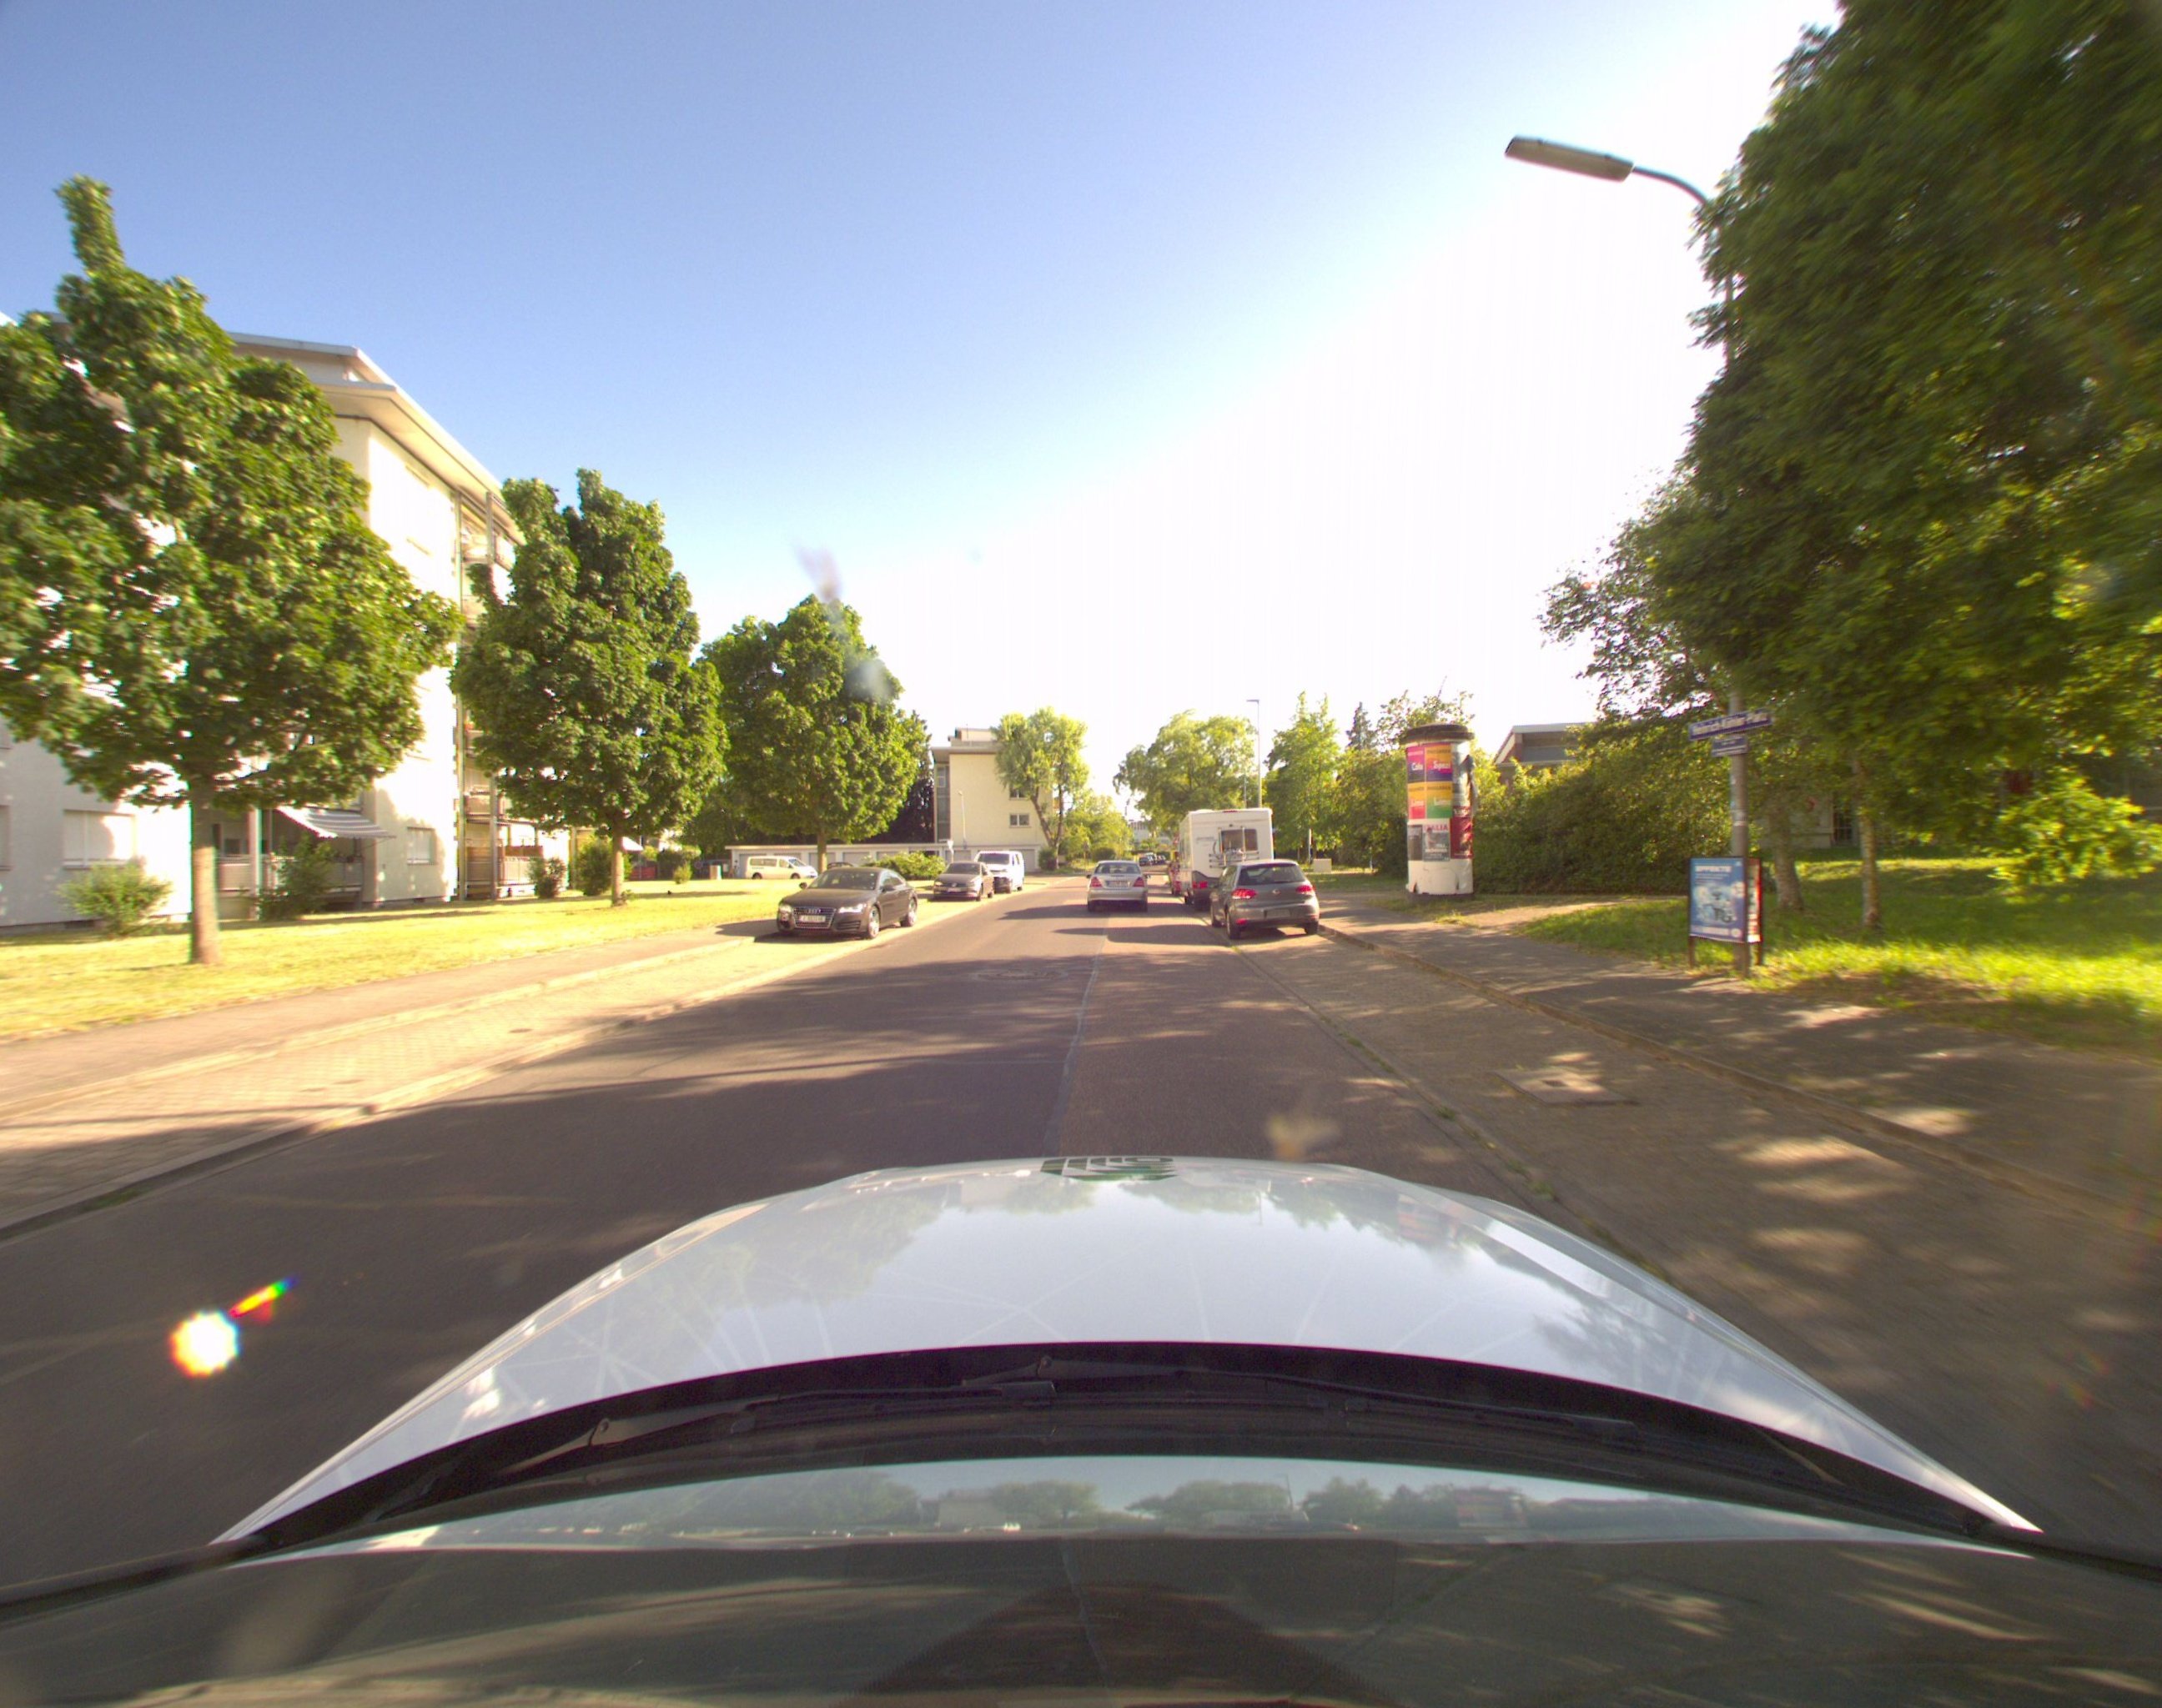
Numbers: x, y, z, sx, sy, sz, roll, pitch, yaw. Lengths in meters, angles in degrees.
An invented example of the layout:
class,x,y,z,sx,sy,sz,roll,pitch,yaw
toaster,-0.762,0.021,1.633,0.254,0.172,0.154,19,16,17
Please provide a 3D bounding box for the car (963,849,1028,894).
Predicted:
class,x,y,z,sx,sy,sz,roll,pitch,yaw
car,-3.832,0.776,37.452,2.005,1.885,5.196,1,0,4

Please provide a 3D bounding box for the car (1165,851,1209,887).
class,x,y,z,sx,sy,sz,roll,pitch,yaw
car,5.461,0.757,42.394,1.768,1.680,4.647,-4,0,2

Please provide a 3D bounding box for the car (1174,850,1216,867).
class,x,y,z,sx,sy,sz,roll,pitch,yaw
car,13.548,0.536,96.505,4.856,1.723,2.005,-2,0,8

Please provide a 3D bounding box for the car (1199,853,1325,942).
class,x,y,z,sx,sy,sz,roll,pitch,yaw
car,3.660,0.801,17.257,1.714,1.524,4.430,-4,0,2

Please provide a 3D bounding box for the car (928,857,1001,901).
class,x,y,z,sx,sy,sz,roll,pitch,yaw
car,-4.338,0.903,30.967,1.825,1.518,4.226,1,0,4

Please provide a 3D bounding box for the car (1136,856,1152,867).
class,x,y,z,sx,sy,sz,roll,pitch,yaw
car,9.498,1.160,122.235,1.901,1.490,3.849,-4,-1,11

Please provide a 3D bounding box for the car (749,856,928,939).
class,x,y,z,sx,sy,sz,roll,pitch,yaw
car,-5.022,0.812,17.812,2.026,1.493,5.260,1,0,3

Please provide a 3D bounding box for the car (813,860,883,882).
class,x,y,z,sx,sy,sz,roll,pitch,yaw
car,-17.093,1.268,59.761,4.415,1.461,2.049,-1,0,10

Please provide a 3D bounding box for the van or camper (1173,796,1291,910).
class,x,y,z,sx,sy,sz,roll,pitch,yaw
van or camper,4.256,-0.028,24.361,2.486,2.845,6.856,-2,0,3

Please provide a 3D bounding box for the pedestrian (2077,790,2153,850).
class,x,y,z,sx,sy,sz,roll,pitch,yaw
pedestrian,28.416,-0.914,22.411,0.847,1.576,1.096,-2,0,23

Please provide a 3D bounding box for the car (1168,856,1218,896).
class,x,y,z,sx,sy,sz,roll,pitch,yaw
car,4.503,0.839,33.212,1.684,1.474,4.004,-2,0,4

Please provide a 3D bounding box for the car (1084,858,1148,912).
class,x,y,z,sx,sy,sz,roll,pitch,yaw
car,1.066,0.859,23.529,1.725,1.434,3.442,0,-1,4

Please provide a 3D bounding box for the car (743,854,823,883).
class,x,y,z,sx,sy,sz,roll,pitch,yaw
car,-22.145,1.063,60.658,5.073,1.951,2.244,-2,0,11
